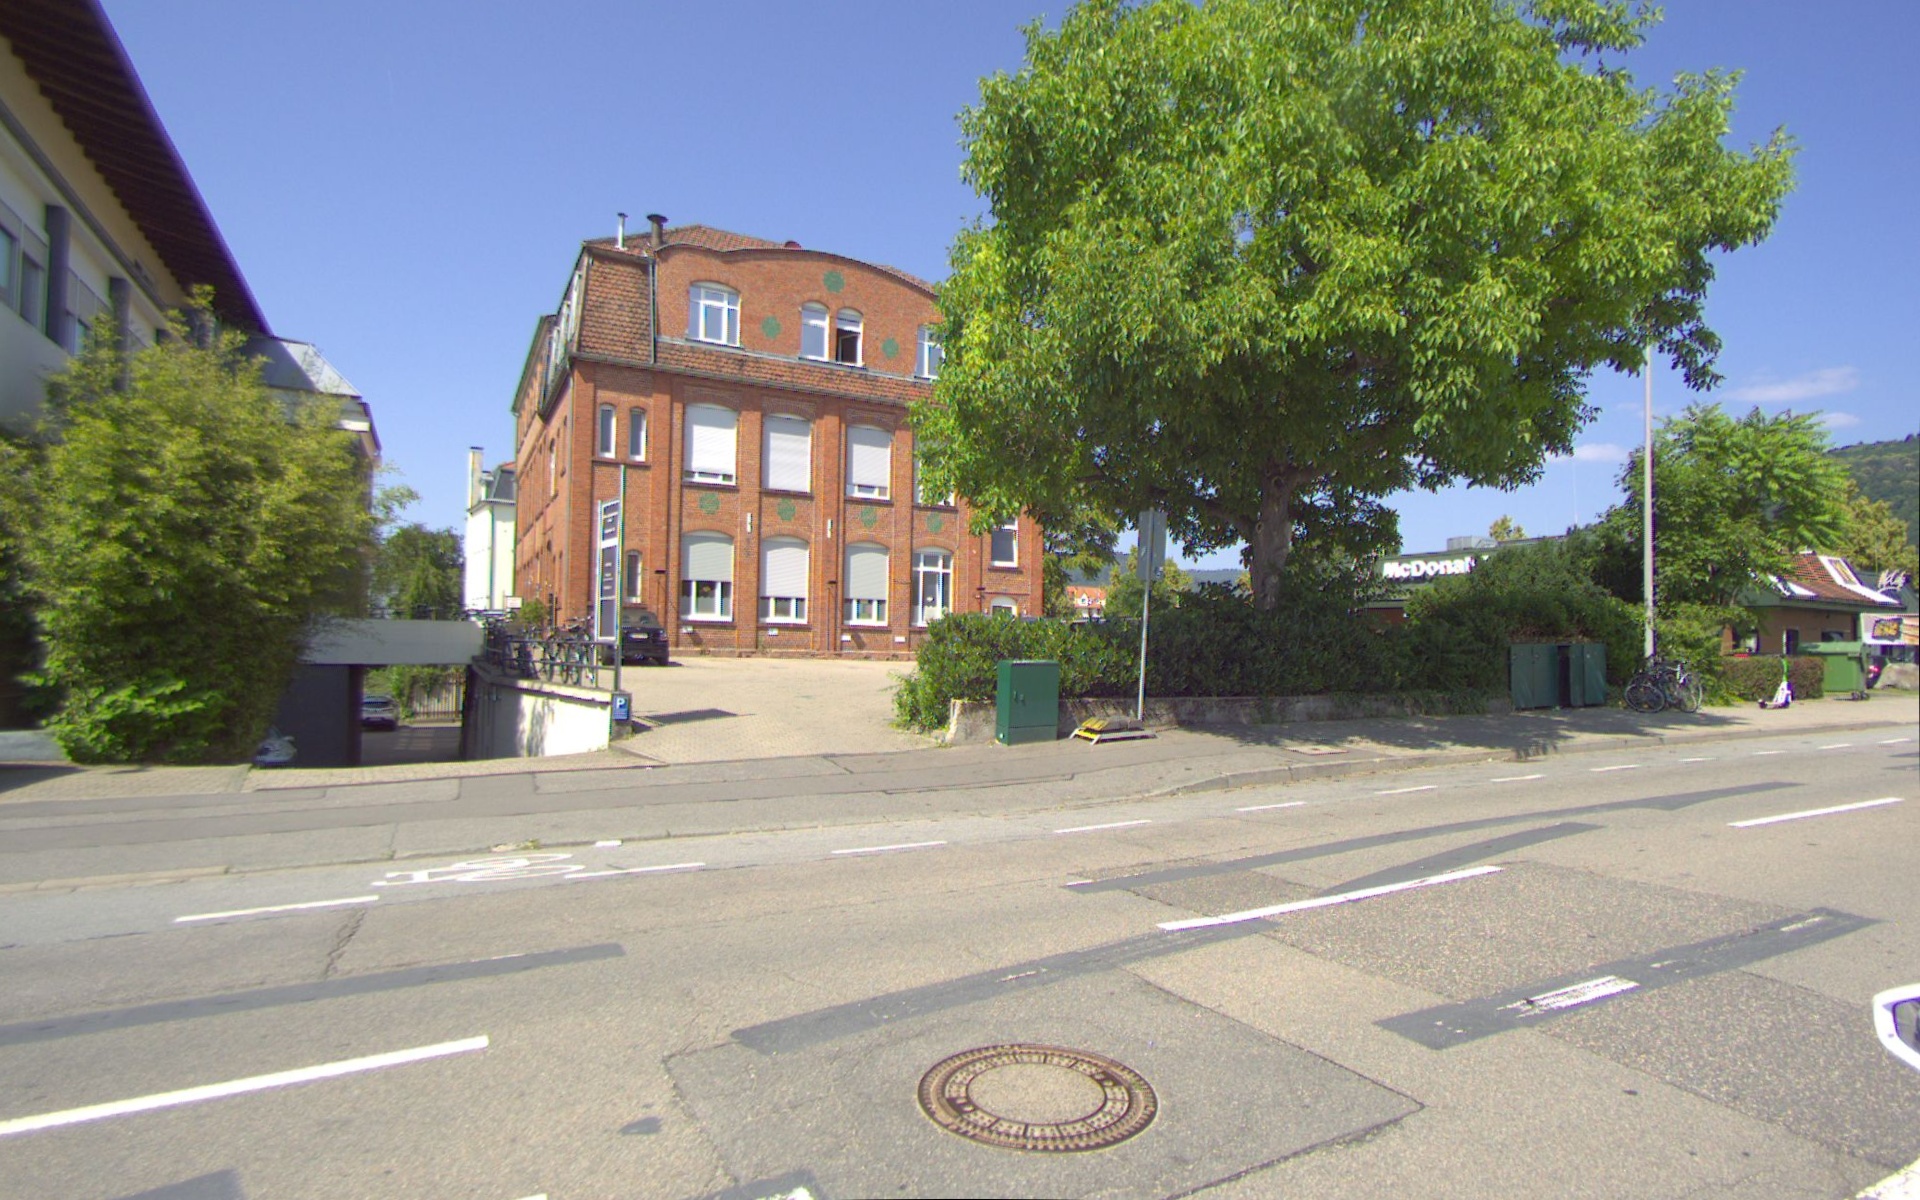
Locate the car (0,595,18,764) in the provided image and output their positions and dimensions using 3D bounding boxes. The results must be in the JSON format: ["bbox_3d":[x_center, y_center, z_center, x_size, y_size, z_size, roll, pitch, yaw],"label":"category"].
[{"bbox_3d":[-10.843,0.769,9.120,2.065,1.889,4.551,1,-3,-27],"label":"car"}]

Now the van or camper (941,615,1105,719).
[{"bbox_3d":[1.078,1.164,18.745,1.612,1.687,3.381,1,0,-26],"label":"van or camper"}]

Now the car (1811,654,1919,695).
[{"bbox_3d":[36.065,2.915,39.883,4.075,1.435,1.987,1,0,-26],"label":"car"}]

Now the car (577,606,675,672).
[{"bbox_3d":[-9.153,1.020,27.365,1.608,1.557,3.965,3,-1,-32],"label":"car"}]

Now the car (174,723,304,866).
[{"bbox_3d":[-14.877,3.841,20.654,1.983,2.040,3.956,1,1,-38],"label":"car"}]

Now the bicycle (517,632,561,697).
[{"bbox_3d":[-8.036,1.207,19.129,0.508,1.115,1.623,1,1,-32],"label":"bicycle"}]

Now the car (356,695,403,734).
[{"bbox_3d":[-29.470,5.778,50.992,1.977,1.661,3.968,1,-3,-30],"label":"car"}]

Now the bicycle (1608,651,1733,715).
[{"bbox_3d":[14.233,1.621,20.087,2.734,1.133,1.021,1,0,-31],"label":"bicycle"}]

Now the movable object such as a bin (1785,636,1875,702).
[{"bbox_3d":[22.006,1.721,25.419,1.295,1.611,1.438,1,-3,-36],"label":"movable object such as a bin"}]

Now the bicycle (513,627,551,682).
[{"bbox_3d":[-9.515,1.184,22.307,0.508,1.115,1.623,1,1,-32],"label":"bicycle"}]

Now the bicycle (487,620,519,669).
[{"bbox_3d":[-11.368,1.095,24.965,0.508,1.115,1.623,1,1,-32],"label":"bicycle"}]

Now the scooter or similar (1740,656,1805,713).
[{"bbox_3d":[17.599,1.805,21.745,1.606,1.143,0.642,1,1,-35],"label":"scooter or similar"}]

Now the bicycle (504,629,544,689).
[{"bbox_3d":[-8.983,1.189,20.683,0.508,1.115,1.623,1,1,-32],"label":"bicycle"}]
